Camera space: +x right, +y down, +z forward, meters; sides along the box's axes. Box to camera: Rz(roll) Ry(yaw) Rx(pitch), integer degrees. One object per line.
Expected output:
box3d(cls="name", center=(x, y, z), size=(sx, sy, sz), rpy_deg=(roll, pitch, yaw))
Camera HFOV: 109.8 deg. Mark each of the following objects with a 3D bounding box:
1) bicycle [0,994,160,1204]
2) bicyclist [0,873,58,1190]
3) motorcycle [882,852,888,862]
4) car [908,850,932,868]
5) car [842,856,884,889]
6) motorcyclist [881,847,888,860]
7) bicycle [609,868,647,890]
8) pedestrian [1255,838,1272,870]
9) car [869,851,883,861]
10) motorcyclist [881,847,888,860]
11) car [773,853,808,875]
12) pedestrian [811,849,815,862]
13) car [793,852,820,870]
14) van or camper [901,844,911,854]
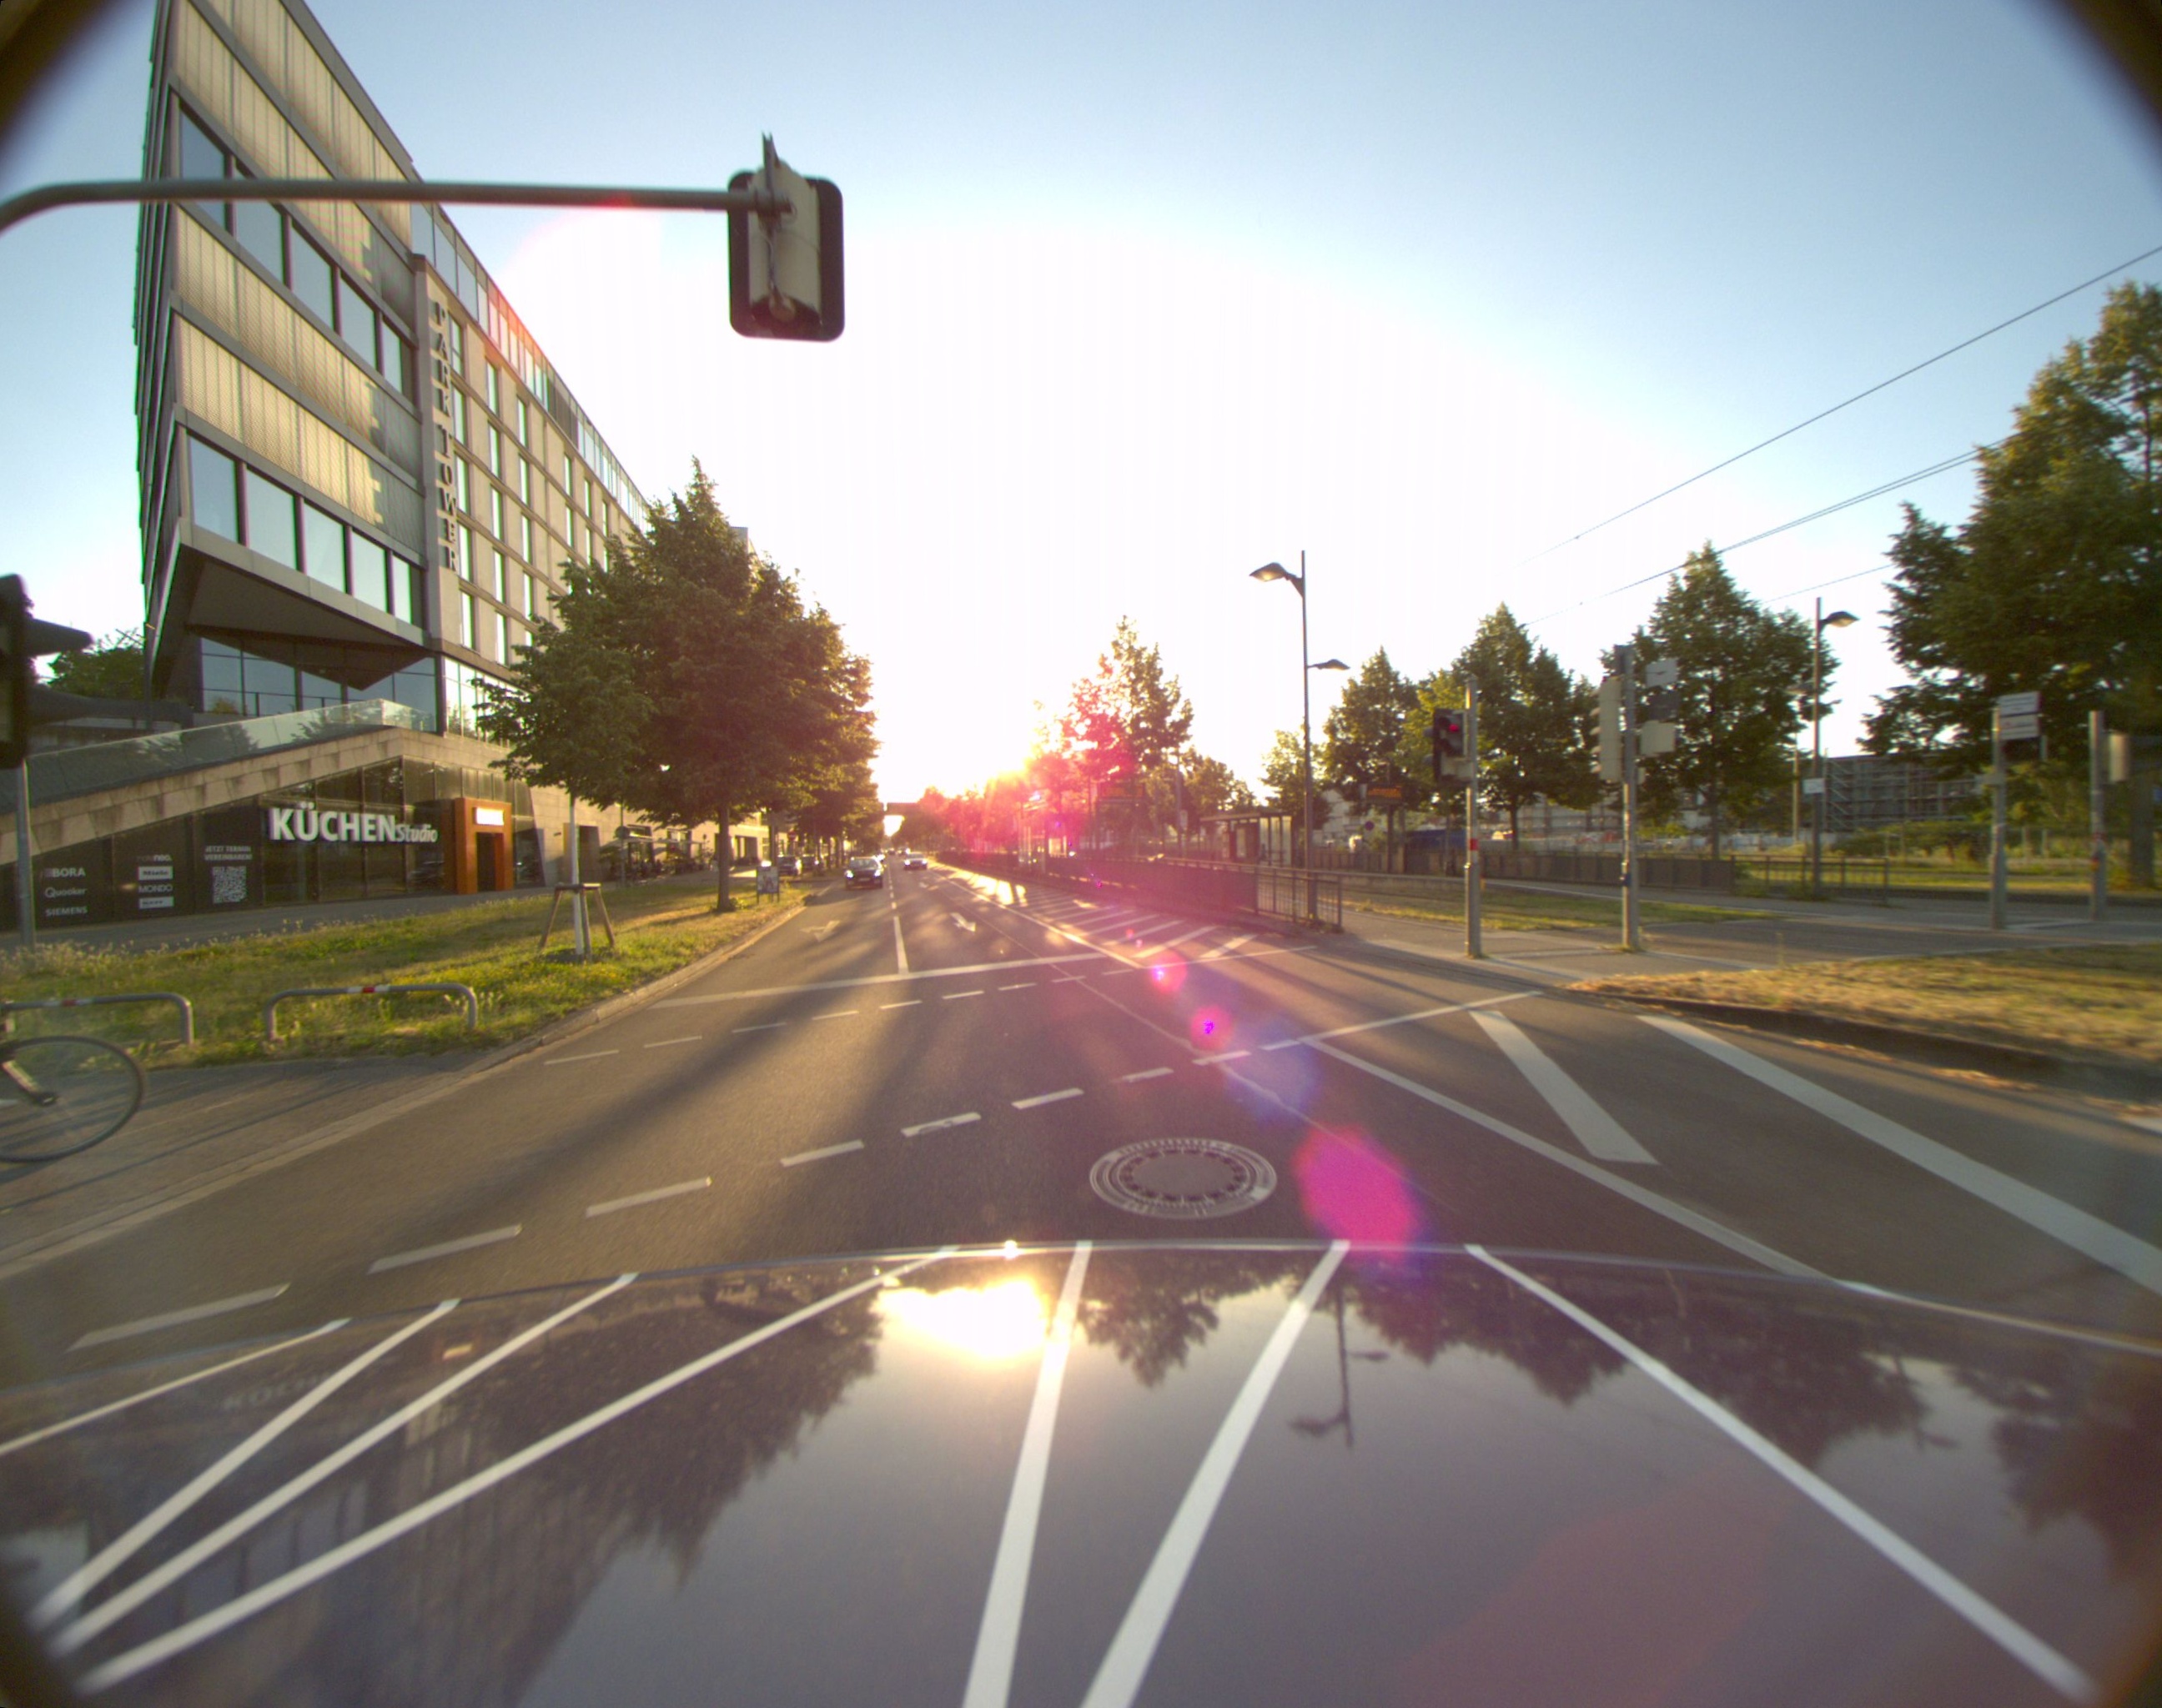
box3d(cls="bicycle", center=(-6.356, 1.358, 4.155), size=(1.863, 1.017, 0.437), rpy_deg=(-1, 1, -7))
box3d(cls="bicyclist", center=(-6.398, 0.998, 3.991), size=(0.849, 1.745, 0.803), rpy_deg=(-1, 1, -7))
box3d(cls="motorcycle", center=(-21.073, 0.325, 81.569), size=(0.558, 1.094, 2.157), rpy_deg=(-1, 1, -14))
box3d(cls="car", center=(-13.422, 0.396, 63.244), size=(1.804, 1.415, 4.443), rpy_deg=(-1, 1, -14))
box3d(cls="car", center=(-10.439, 0.848, 36.614), size=(1.804, 1.455, 3.995), rpy_deg=(-1, 1, -14))
box3d(cls="motorcyclist", center=(-21.019, -0.027, 81.292), size=(0.636, 1.408, 0.714), rpy_deg=(-1, 2, -14))
box3d(cls="bicycle", center=(-19.787, 1.056, 33.249), size=(0.550, 0.846, 2.641), rpy_deg=(-1, 1, -12))
box3d(cls="pedestrian", center=(9.548, 0.008, 39.689), size=(0.709, 1.623, 0.445), rpy_deg=(-2, 1, -16))
box3d(cls="car", center=(-30.320, 0.273, 112.316), size=(1.893, 1.472, 4.045), rpy_deg=(-1, 1, -14))
box3d(cls="motorcyclist", center=(-21.175, -0.040, 81.941), size=(0.636, 1.400, 0.593), rpy_deg=(-2, 2, -14))
box3d(cls="car", center=(-20.267, 0.683, 53.121), size=(1.804, 1.455, 3.995), rpy_deg=(-1, 1, -14))
box3d(cls="pedestrian", center=(-41.400, 0.236, 117.315), size=(0.539, 2.002, 0.526), rpy_deg=(-2, 1, -15))
box3d(cls="car", center=(-24.308, 0.592, 67.411), size=(1.804, 1.455, 3.995), rpy_deg=(-1, 1, -14))
box3d(cls="van or camper", center=(-37.886, -1.141, 164.555), size=(2.001, 1.946, 5.321), rpy_deg=(-2, 1, -15))
